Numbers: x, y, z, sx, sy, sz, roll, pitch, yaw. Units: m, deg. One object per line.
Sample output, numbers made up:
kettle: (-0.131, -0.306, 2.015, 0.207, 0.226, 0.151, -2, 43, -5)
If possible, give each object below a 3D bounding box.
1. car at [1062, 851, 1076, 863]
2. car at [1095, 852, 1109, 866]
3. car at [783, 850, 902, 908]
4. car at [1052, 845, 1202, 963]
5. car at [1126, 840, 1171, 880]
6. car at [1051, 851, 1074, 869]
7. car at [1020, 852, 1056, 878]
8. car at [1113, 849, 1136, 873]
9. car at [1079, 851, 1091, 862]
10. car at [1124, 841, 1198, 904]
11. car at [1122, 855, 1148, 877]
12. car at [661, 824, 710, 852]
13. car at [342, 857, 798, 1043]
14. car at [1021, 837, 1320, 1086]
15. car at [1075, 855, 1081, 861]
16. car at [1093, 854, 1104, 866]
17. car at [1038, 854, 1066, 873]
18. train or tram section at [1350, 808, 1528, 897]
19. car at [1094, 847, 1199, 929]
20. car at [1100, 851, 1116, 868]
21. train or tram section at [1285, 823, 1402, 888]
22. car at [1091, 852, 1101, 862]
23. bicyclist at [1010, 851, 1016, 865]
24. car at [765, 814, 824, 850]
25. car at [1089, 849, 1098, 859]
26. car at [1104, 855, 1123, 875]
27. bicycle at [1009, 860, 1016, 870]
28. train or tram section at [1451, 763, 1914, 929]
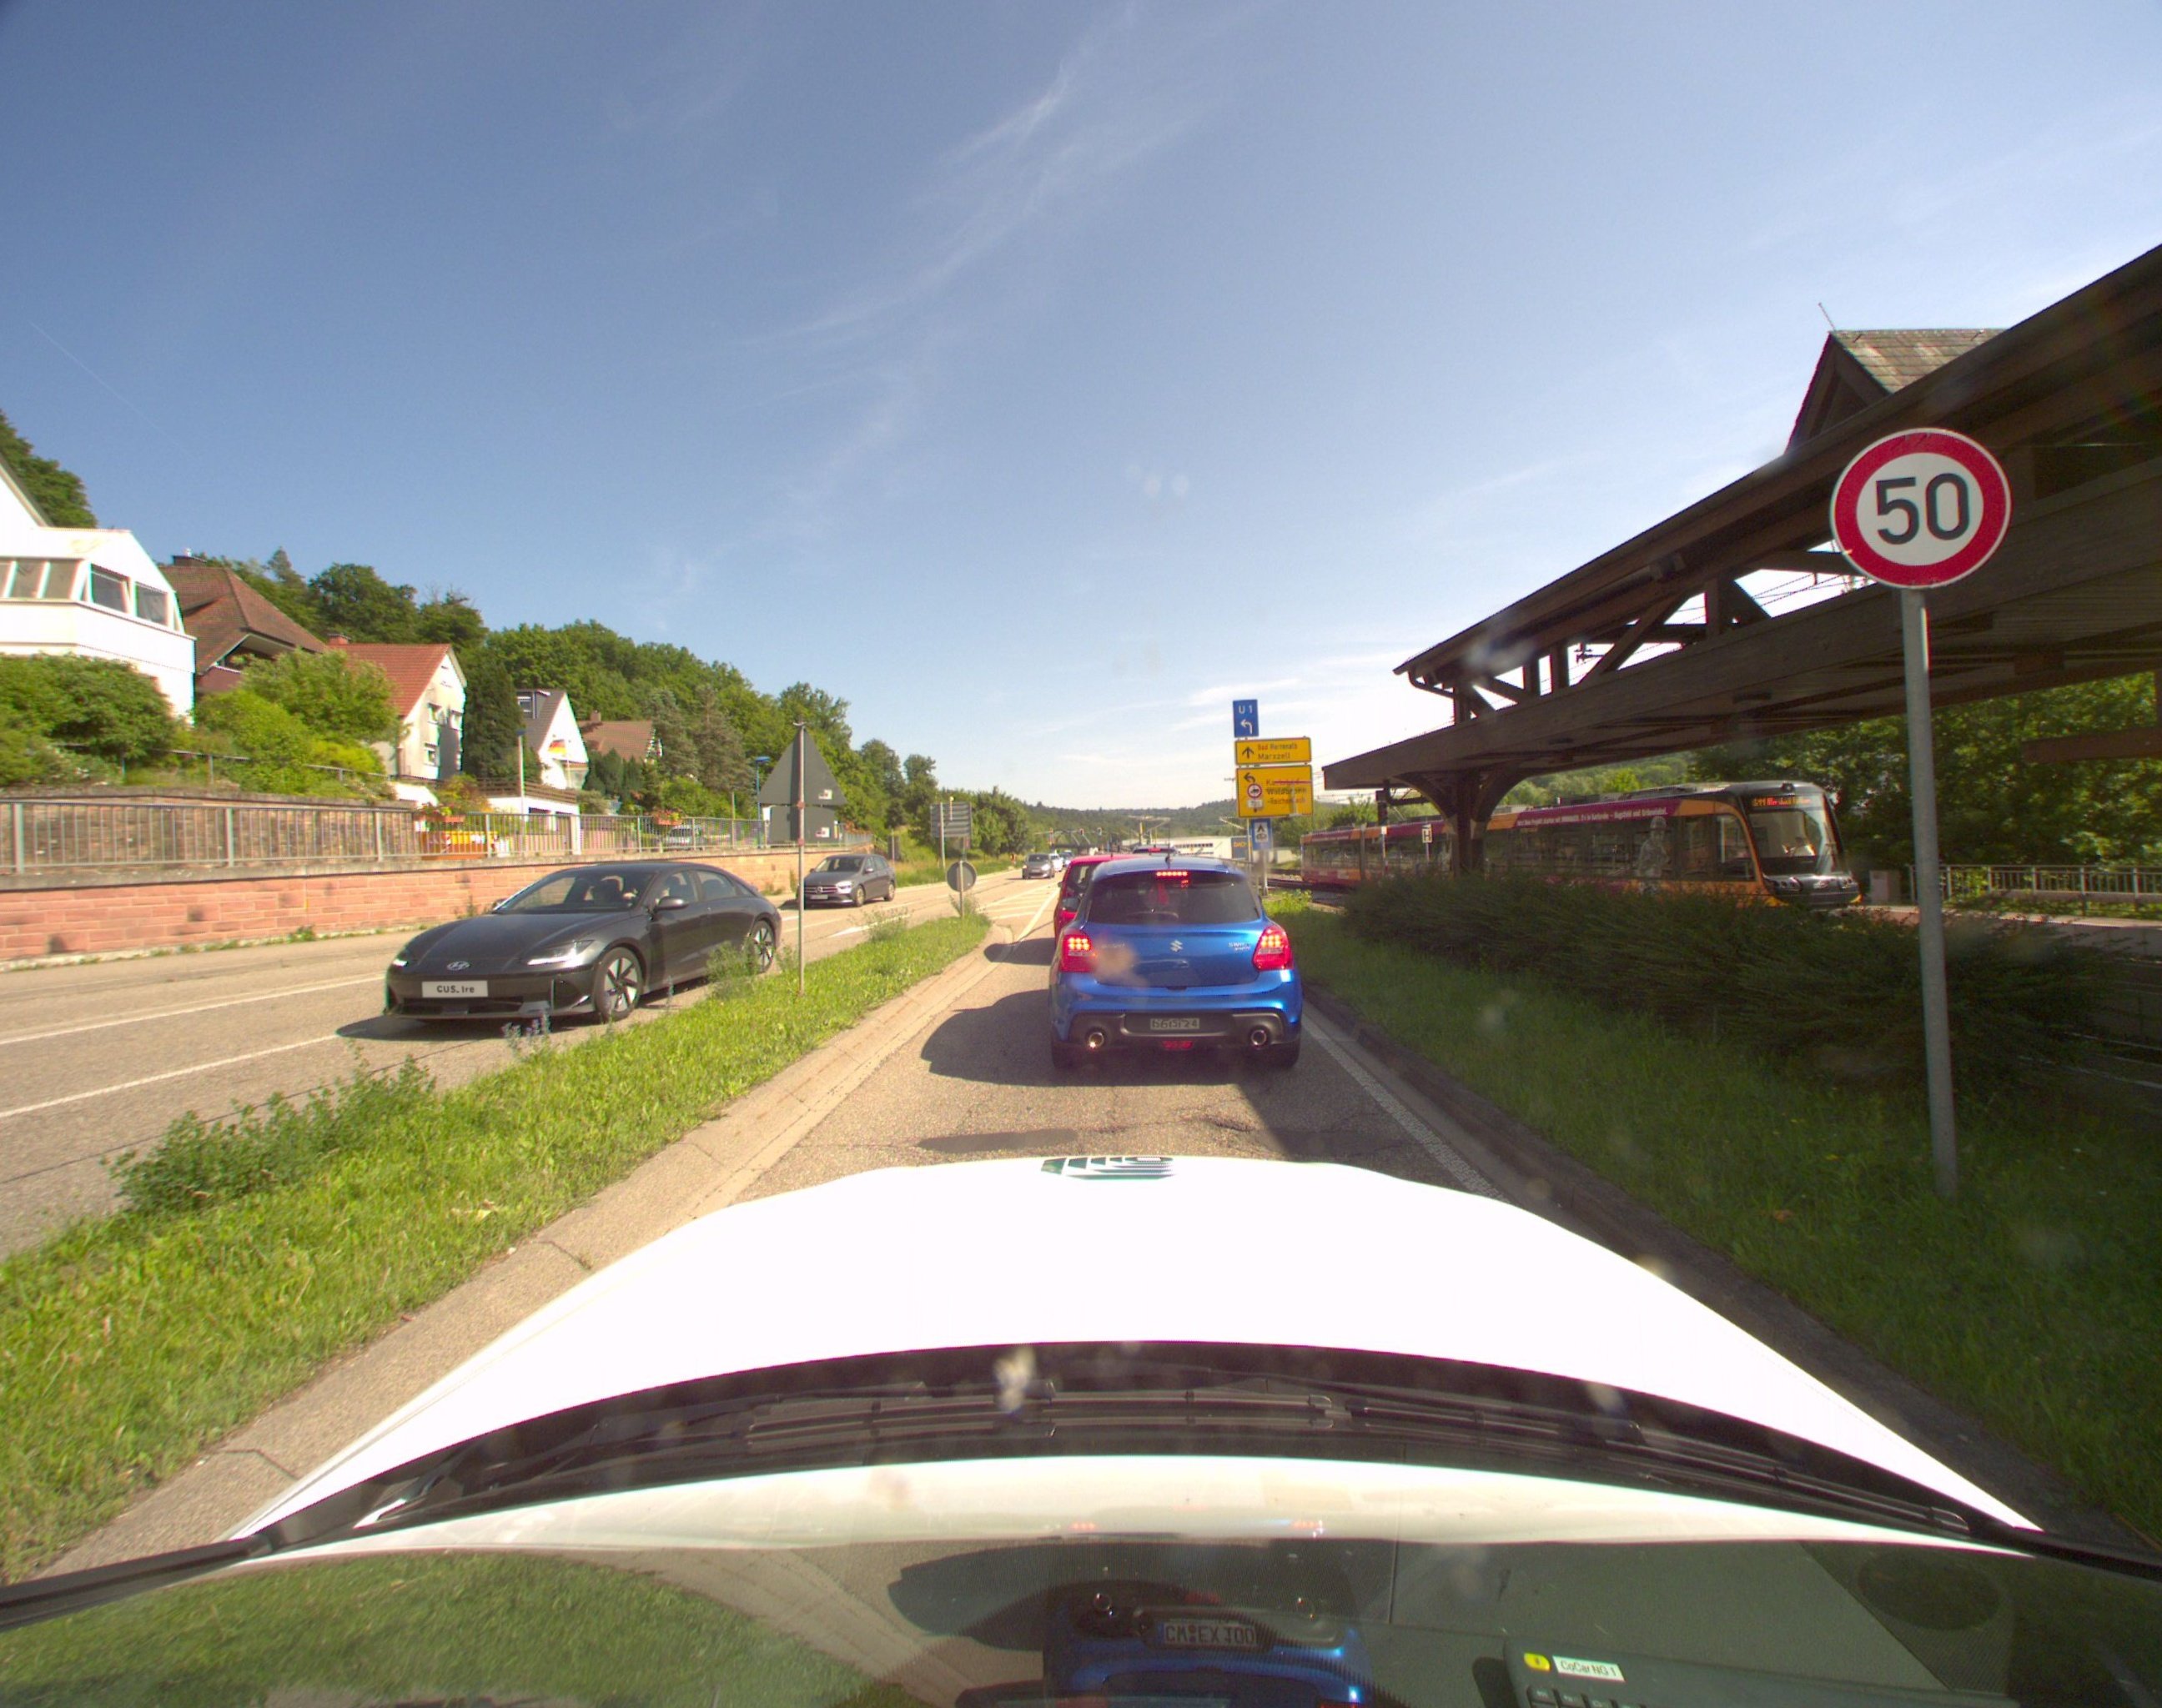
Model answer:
car: (-1.786, 0.474, 121.993, 1.825, 1.713, 3.814, 1, 1, 3)
car: (3.224, 0.791, 124.903, 1.986, 2.013, 4.002, 0, 1, 2)
car: (-7.081, 0.679, 24.716, 1.985, 1.564, 4.514, -1, 0, 4)
car: (0.733, 0.666, 12.805, 1.985, 1.571, 4.004, 0, 0, 3)
car: (3.116, 0.255, 38.129, 1.985, 1.736, 4.004, 1, 0, 3)
car: (-1.701, 0.558, 75.422, 1.825, 1.468, 3.814, 1, 2, 2)
car: (-2.484, 0.600, 47.729, 1.665, 1.441, 3.843, -1, 0, 3)
car: (3.912, 0.607, 73.175, 1.986, 2.013, 4.002, 0, 1, 2)
car: (0.742, 0.427, 140.318, 1.986, 1.783, 4.002, 0, 0, 2)
car: (2.282, 0.482, 24.130, 1.985, 1.686, 4.501, 1, 0, 3)
car: (4.066, 0.911, 61.317, 1.824, 1.493, 3.815, 1, 1, 4)
car: (-24.466, -0.980, 50.479, 1.898, 1.629, 3.981, -1, 0, -14)
car: (-5.032, 0.806, 9.043, 1.783, 1.470, 4.722, -1, 0, 5)
car: (0.606, 0.670, 7.134, 1.862, 1.548, 4.001, -1, 0, 1)
car: (-0.943, 1.320, 258.847, 1.986, 2.013, 4.002, 0, 0, 2)
car: (3.224, 1.079, 148.254, 1.986, 2.013, 4.002, 0, 1, 2)
car: (-2.234, 0.715, 63.871, 1.825, 1.369, 3.953, 0, 1, 3)
train or tram section: (15.497, -0.025, 36.774, 2.777, 3.364, 12.045, 0, 0, 0)
car: (1.402, 0.639, 18.061, 1.985, 1.531, 4.606, -2, 0, 3)
car: (3.543, 0.685, 105.546, 1.986, 2.013, 4.002, 0, 1, 2)
train or tram section: (15.257, 0.022, 48.686, 2.749, 3.364, 12.038, 0, 1, -2)
car: (3.034, 0.583, 168.049, 1.986, 1.816, 4.002, 0, 1, 2)
bicyclist: (-7.256, 0.393, 86.656, 0.627, 1.507, 0.506, 0, 1, -2)
car: (-16.108, -1.243, 46.105, 2.017, 1.920, 4.724, 0, 1, -5)
car: (2.942, -0.049, 186.902, 1.986, 2.144, 4.722, 0, 0, 2)
car: (3.482, 1.209, 87.989, 1.986, 2.013, 4.002, 0, 1, 2)
bicycle: (-7.274, 1.177, 86.675, 0.564, 1.043, 1.551, 0, 1, -1)
train or tram section: (15.583, -0.184, 23.839, 2.847, 3.365, 14.350, -1, 0, 0)
